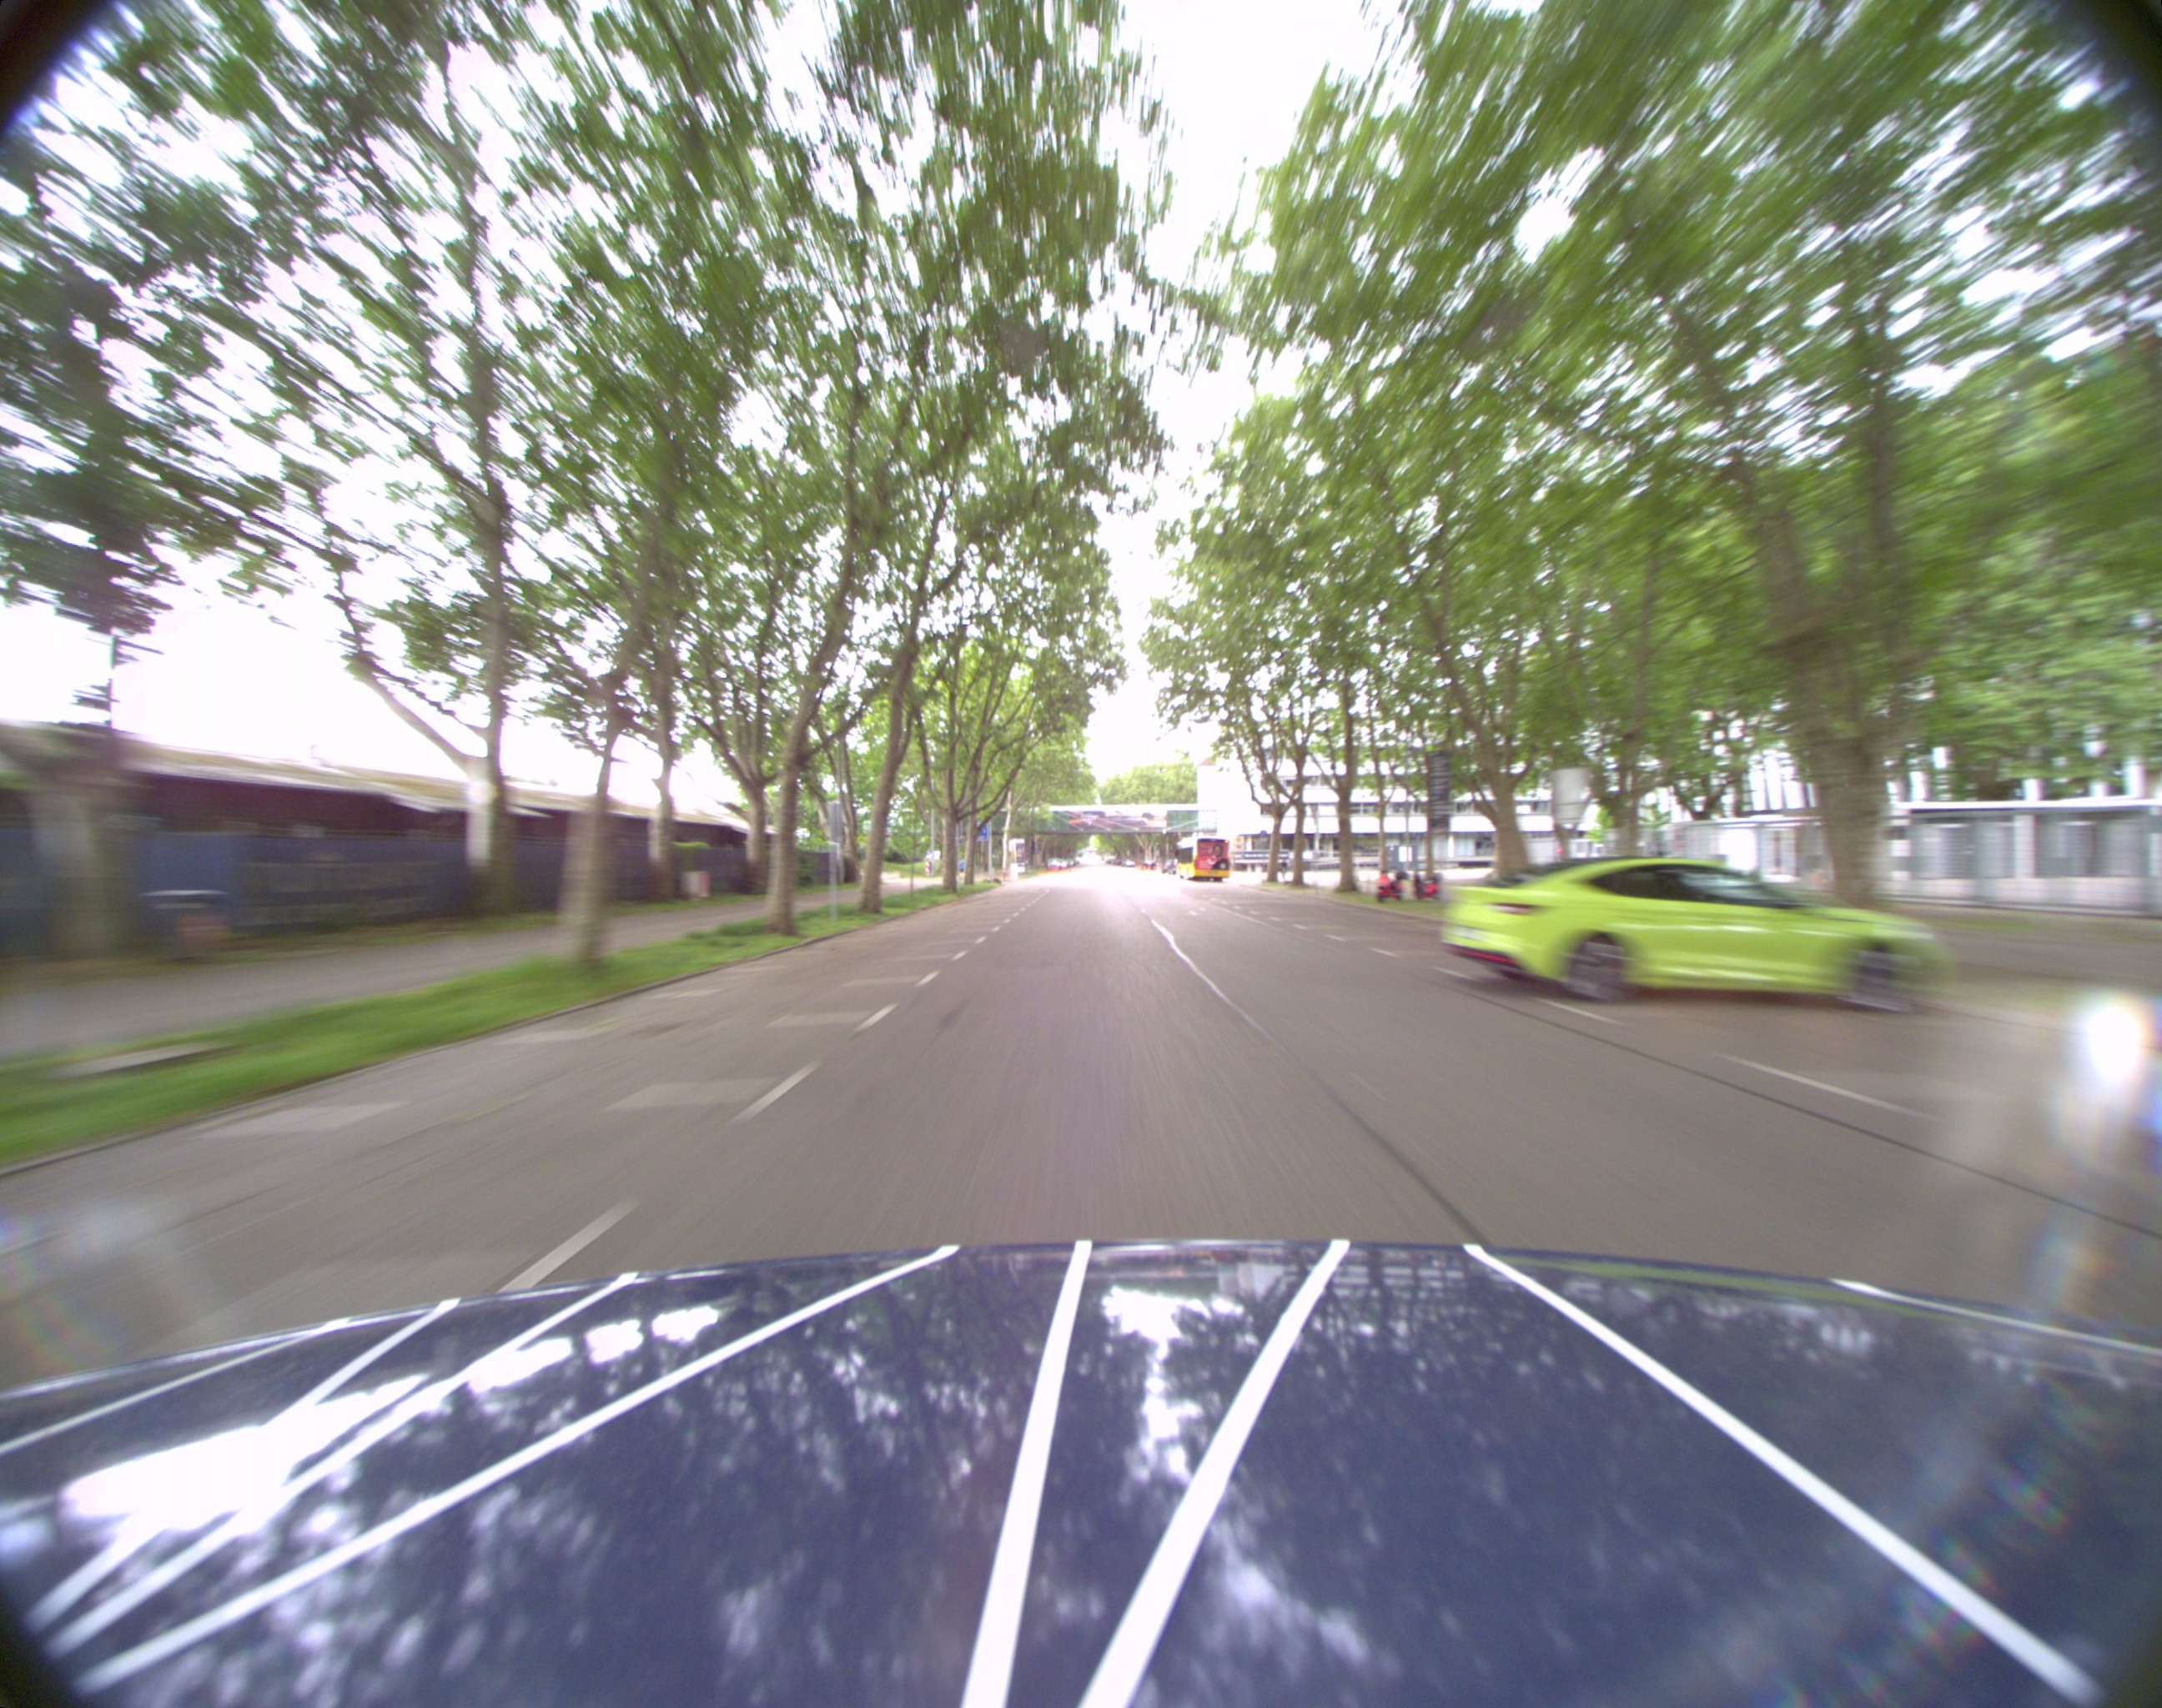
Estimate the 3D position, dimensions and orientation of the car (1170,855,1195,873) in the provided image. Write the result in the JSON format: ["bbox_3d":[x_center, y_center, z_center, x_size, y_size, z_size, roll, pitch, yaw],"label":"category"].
[{"bbox_3d":[10.041,0.957,75.236,1.758,1.557,4.387,4,0,-1],"label":"car"}]

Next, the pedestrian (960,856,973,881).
[{"bbox_3d":[-9.316,1.187,61.936,0.710,2.002,0.882,-2,1,10],"label":"pedestrian"}]

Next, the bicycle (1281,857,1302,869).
[{"bbox_3d":[21.746,0.948,78.495,1.918,1.180,0.569,-2,1,-2],"label":"bicycle"}]

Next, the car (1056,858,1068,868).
[{"bbox_3d":[-3.096,1.492,126.171,1.921,1.561,4.497,-1,0,-1],"label":"car"}]

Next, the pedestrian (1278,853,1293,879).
[{"bbox_3d":[13.054,0.755,48.468,0.663,1.580,0.912,-2,1,0],"label":"pedestrian"}]

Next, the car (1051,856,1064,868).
[{"bbox_3d":[-3.413,1.169,109.227,1.757,1.687,4.497,-1,0,-1],"label":"car"}]

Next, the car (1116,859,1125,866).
[{"bbox_3d":[9.470,2.019,184.122,1.921,1.561,4.497,-1,0,-1],"label":"car"}]

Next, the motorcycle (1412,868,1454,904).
[{"bbox_3d":[12.189,1.085,26.374,0.574,1.151,2.077,-2,0,2],"label":"motorcycle"}]

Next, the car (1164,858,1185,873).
[{"bbox_3d":[10.305,1.225,83.822,1.758,1.505,4.009,3,0,1],"label":"car"}]

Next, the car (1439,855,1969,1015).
[{"bbox_3d":[6.760,0.840,8.669,4.526,1.608,1.758,0,0,3],"label":"car"}]

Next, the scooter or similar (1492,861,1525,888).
[{"bbox_3d":[19.207,0.913,34.155,1.185,1.166,0.445,-2,1,6],"label":"scooter or similar"}]

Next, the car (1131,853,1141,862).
[{"bbox_3d":[10.435,0.640,144.250,1.757,1.652,4.000,-2,0,1],"label":"car"}]

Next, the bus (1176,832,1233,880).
[{"bbox_3d":[9.146,0.123,57.659,2.657,3.136,12.370,2,0,2],"label":"bus"}]

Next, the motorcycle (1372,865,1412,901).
[{"bbox_3d":[11.153,1.018,27.184,0.573,1.151,2.081,-1,1,44],"label":"motorcycle"}]

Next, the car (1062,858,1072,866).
[{"bbox_3d":[-2.690,1.603,148.411,1.921,1.561,4.497,-1,0,-1],"label":"car"}]

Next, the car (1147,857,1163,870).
[{"bbox_3d":[10.979,1.353,112.702,1.929,1.720,4.233,3,0,1],"label":"car"}]

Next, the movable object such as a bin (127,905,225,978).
[{"bbox_3d":[-13.228,1.261,11.122,0.569,0.953,0.675,4,1,0],"label":"movable object such as a bin"}]

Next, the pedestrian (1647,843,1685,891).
[{"bbox_3d":[21.664,0.465,28.161,0.706,1.743,0.874,-2,1,0],"label":"pedestrian"}]
